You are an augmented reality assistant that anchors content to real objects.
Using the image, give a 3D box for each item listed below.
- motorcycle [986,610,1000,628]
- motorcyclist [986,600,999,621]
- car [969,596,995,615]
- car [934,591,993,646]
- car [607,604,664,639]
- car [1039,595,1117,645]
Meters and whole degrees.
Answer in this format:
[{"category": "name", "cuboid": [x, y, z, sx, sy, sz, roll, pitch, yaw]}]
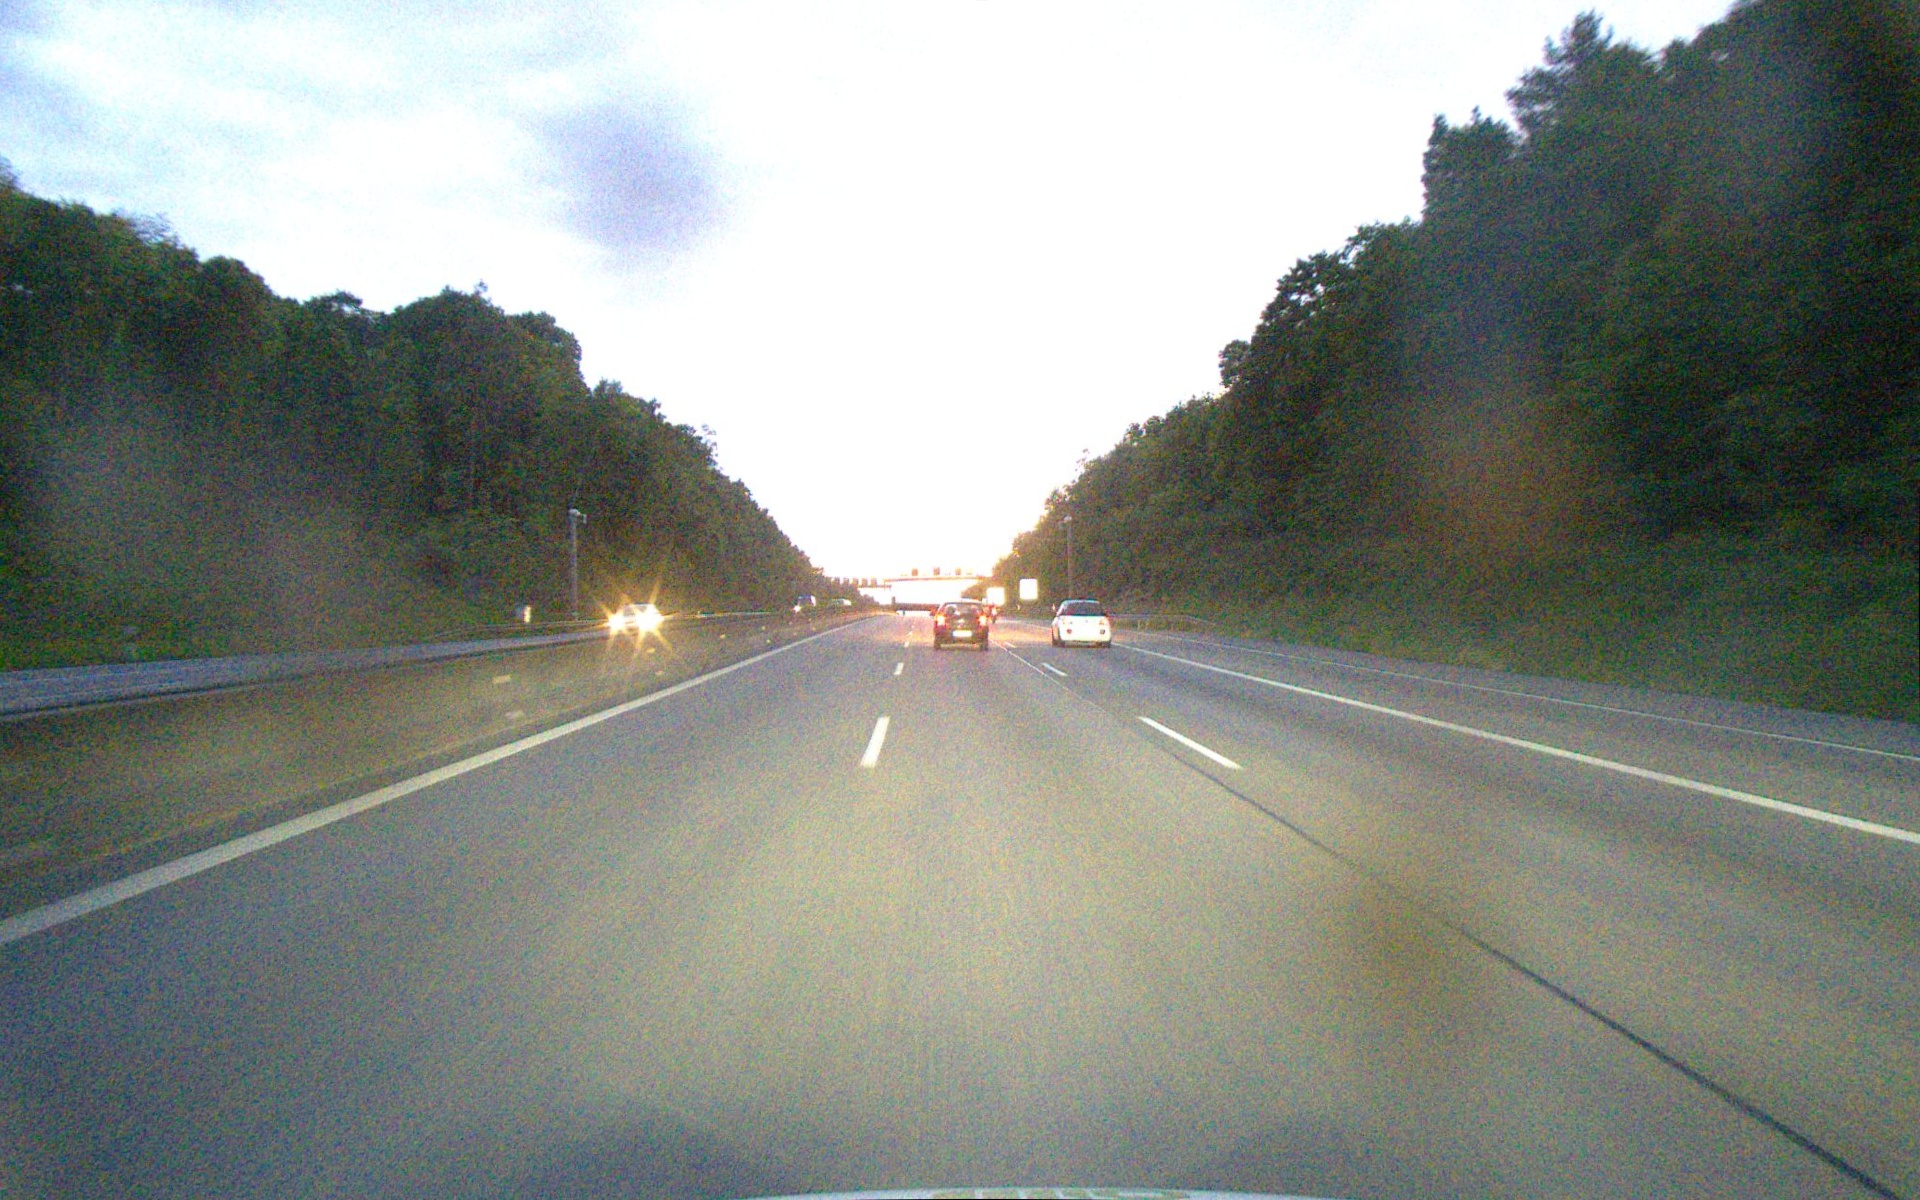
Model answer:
[{"category": "motorcycle", "cuboid": [2.168, 1.278, 109.243, 0.813, 1.154, 2.475, 0, -1, -2]}, {"category": "motorcyclist", "cuboid": [2.165, 0.696, 109.187, 0.813, 1.314, 1.189, 0, -1, -2]}, {"category": "car", "cuboid": [1.906, 0.499, 145.993, 1.829, 1.520, 4.393, 1, -2, -6]}, {"category": "car", "cuboid": [0.079, 0.583, 49.614, 1.669, 1.536, 4.230, 1, -2, -1]}, {"category": "car", "cuboid": [-15.217, 0.991, 77.759, 1.843, 1.602, 4.653, 0, 0, -2]}, {"category": "car", "cuboid": [3.754, 0.670, 53.336, 1.790, 1.502, 4.393, 1, -2, -6]}]
